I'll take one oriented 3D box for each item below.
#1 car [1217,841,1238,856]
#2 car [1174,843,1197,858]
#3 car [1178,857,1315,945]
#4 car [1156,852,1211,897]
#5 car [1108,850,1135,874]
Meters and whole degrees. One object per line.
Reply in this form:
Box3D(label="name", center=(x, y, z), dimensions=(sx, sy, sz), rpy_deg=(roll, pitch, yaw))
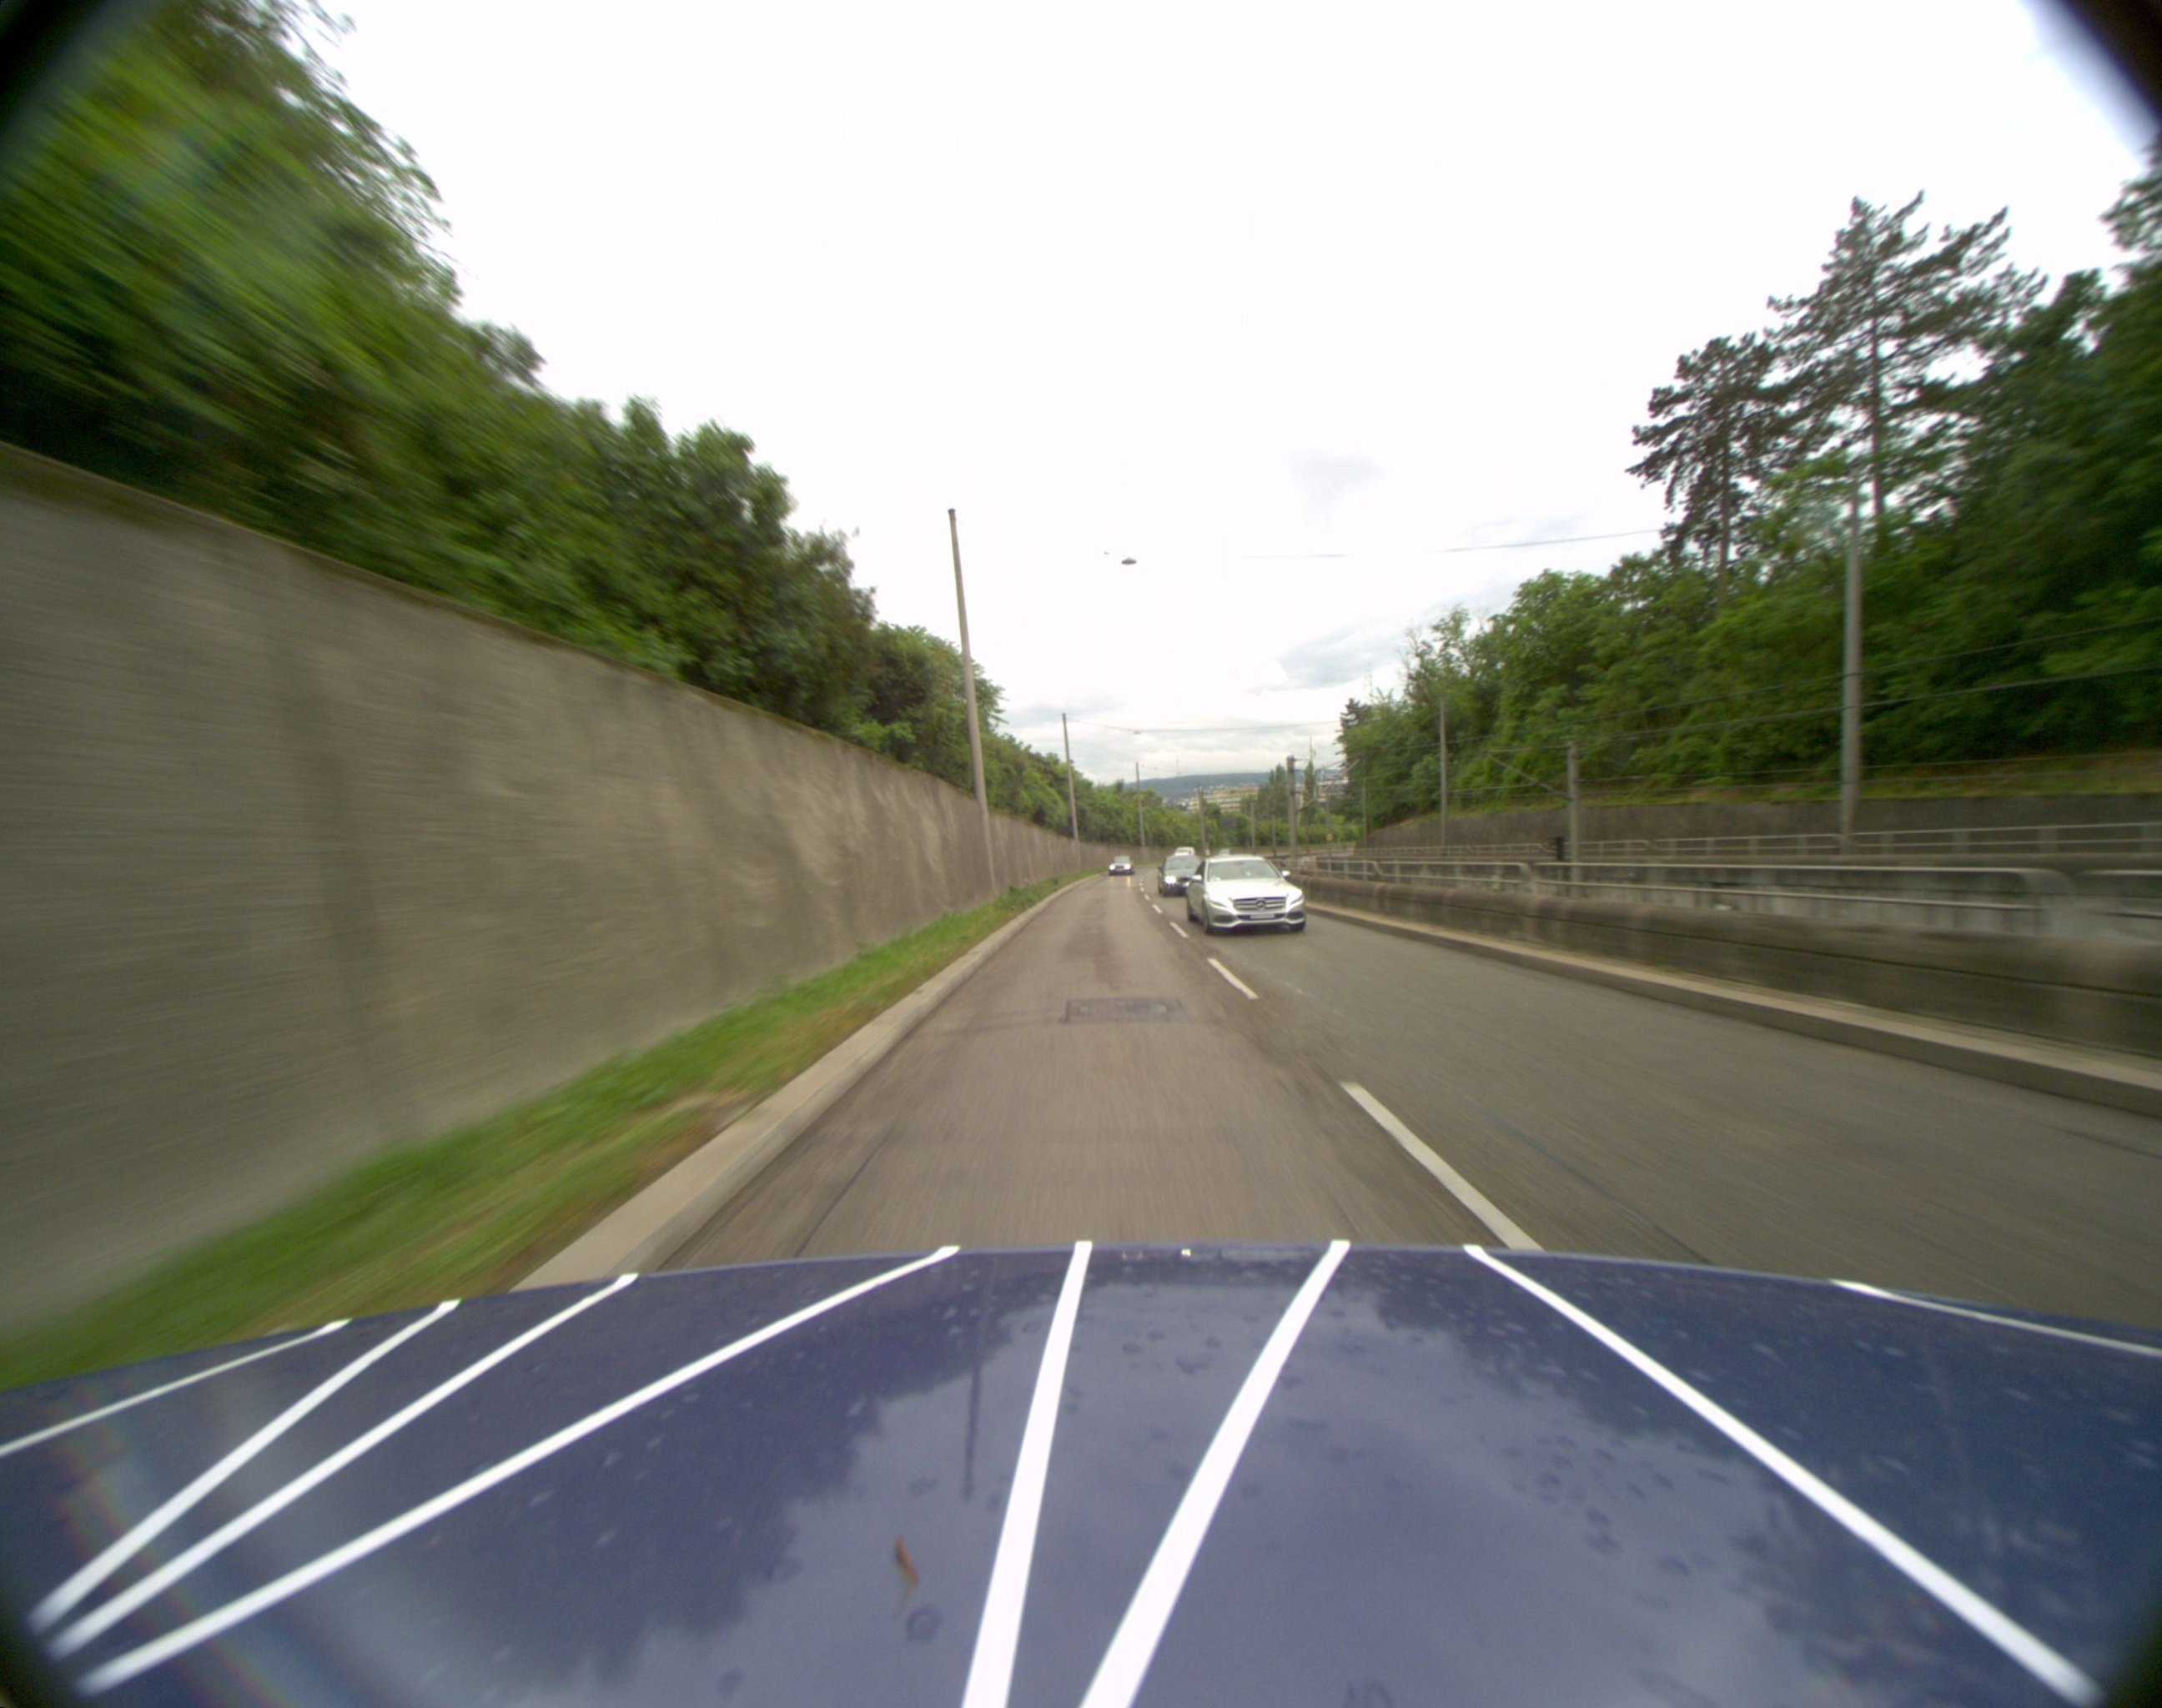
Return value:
Box3D(label="car", center=(20.582, -0.775, 106.559), dimensions=(1.995, 2.002, 4.501), rpy_deg=(-2, 1, 22))
Box3D(label="car", center=(13.338, -0.453, 96.792), dimensions=(1.807, 1.501, 4.004), rpy_deg=(-4, 2, 21))
Box3D(label="car", center=(3.157, 0.824, 15.400), dimensions=(1.861, 1.395, 4.315), rpy_deg=(-3, 0, 1))
Box3D(label="car", center=(3.720, 0.695, 28.033), dimensions=(1.729, 1.462, 3.888), rpy_deg=(-2, 0, 4))
Box3D(label="car", center=(3.009, 0.570, 57.055), dimensions=(1.810, 1.501, 3.998), rpy_deg=(-5, 2, 1))
